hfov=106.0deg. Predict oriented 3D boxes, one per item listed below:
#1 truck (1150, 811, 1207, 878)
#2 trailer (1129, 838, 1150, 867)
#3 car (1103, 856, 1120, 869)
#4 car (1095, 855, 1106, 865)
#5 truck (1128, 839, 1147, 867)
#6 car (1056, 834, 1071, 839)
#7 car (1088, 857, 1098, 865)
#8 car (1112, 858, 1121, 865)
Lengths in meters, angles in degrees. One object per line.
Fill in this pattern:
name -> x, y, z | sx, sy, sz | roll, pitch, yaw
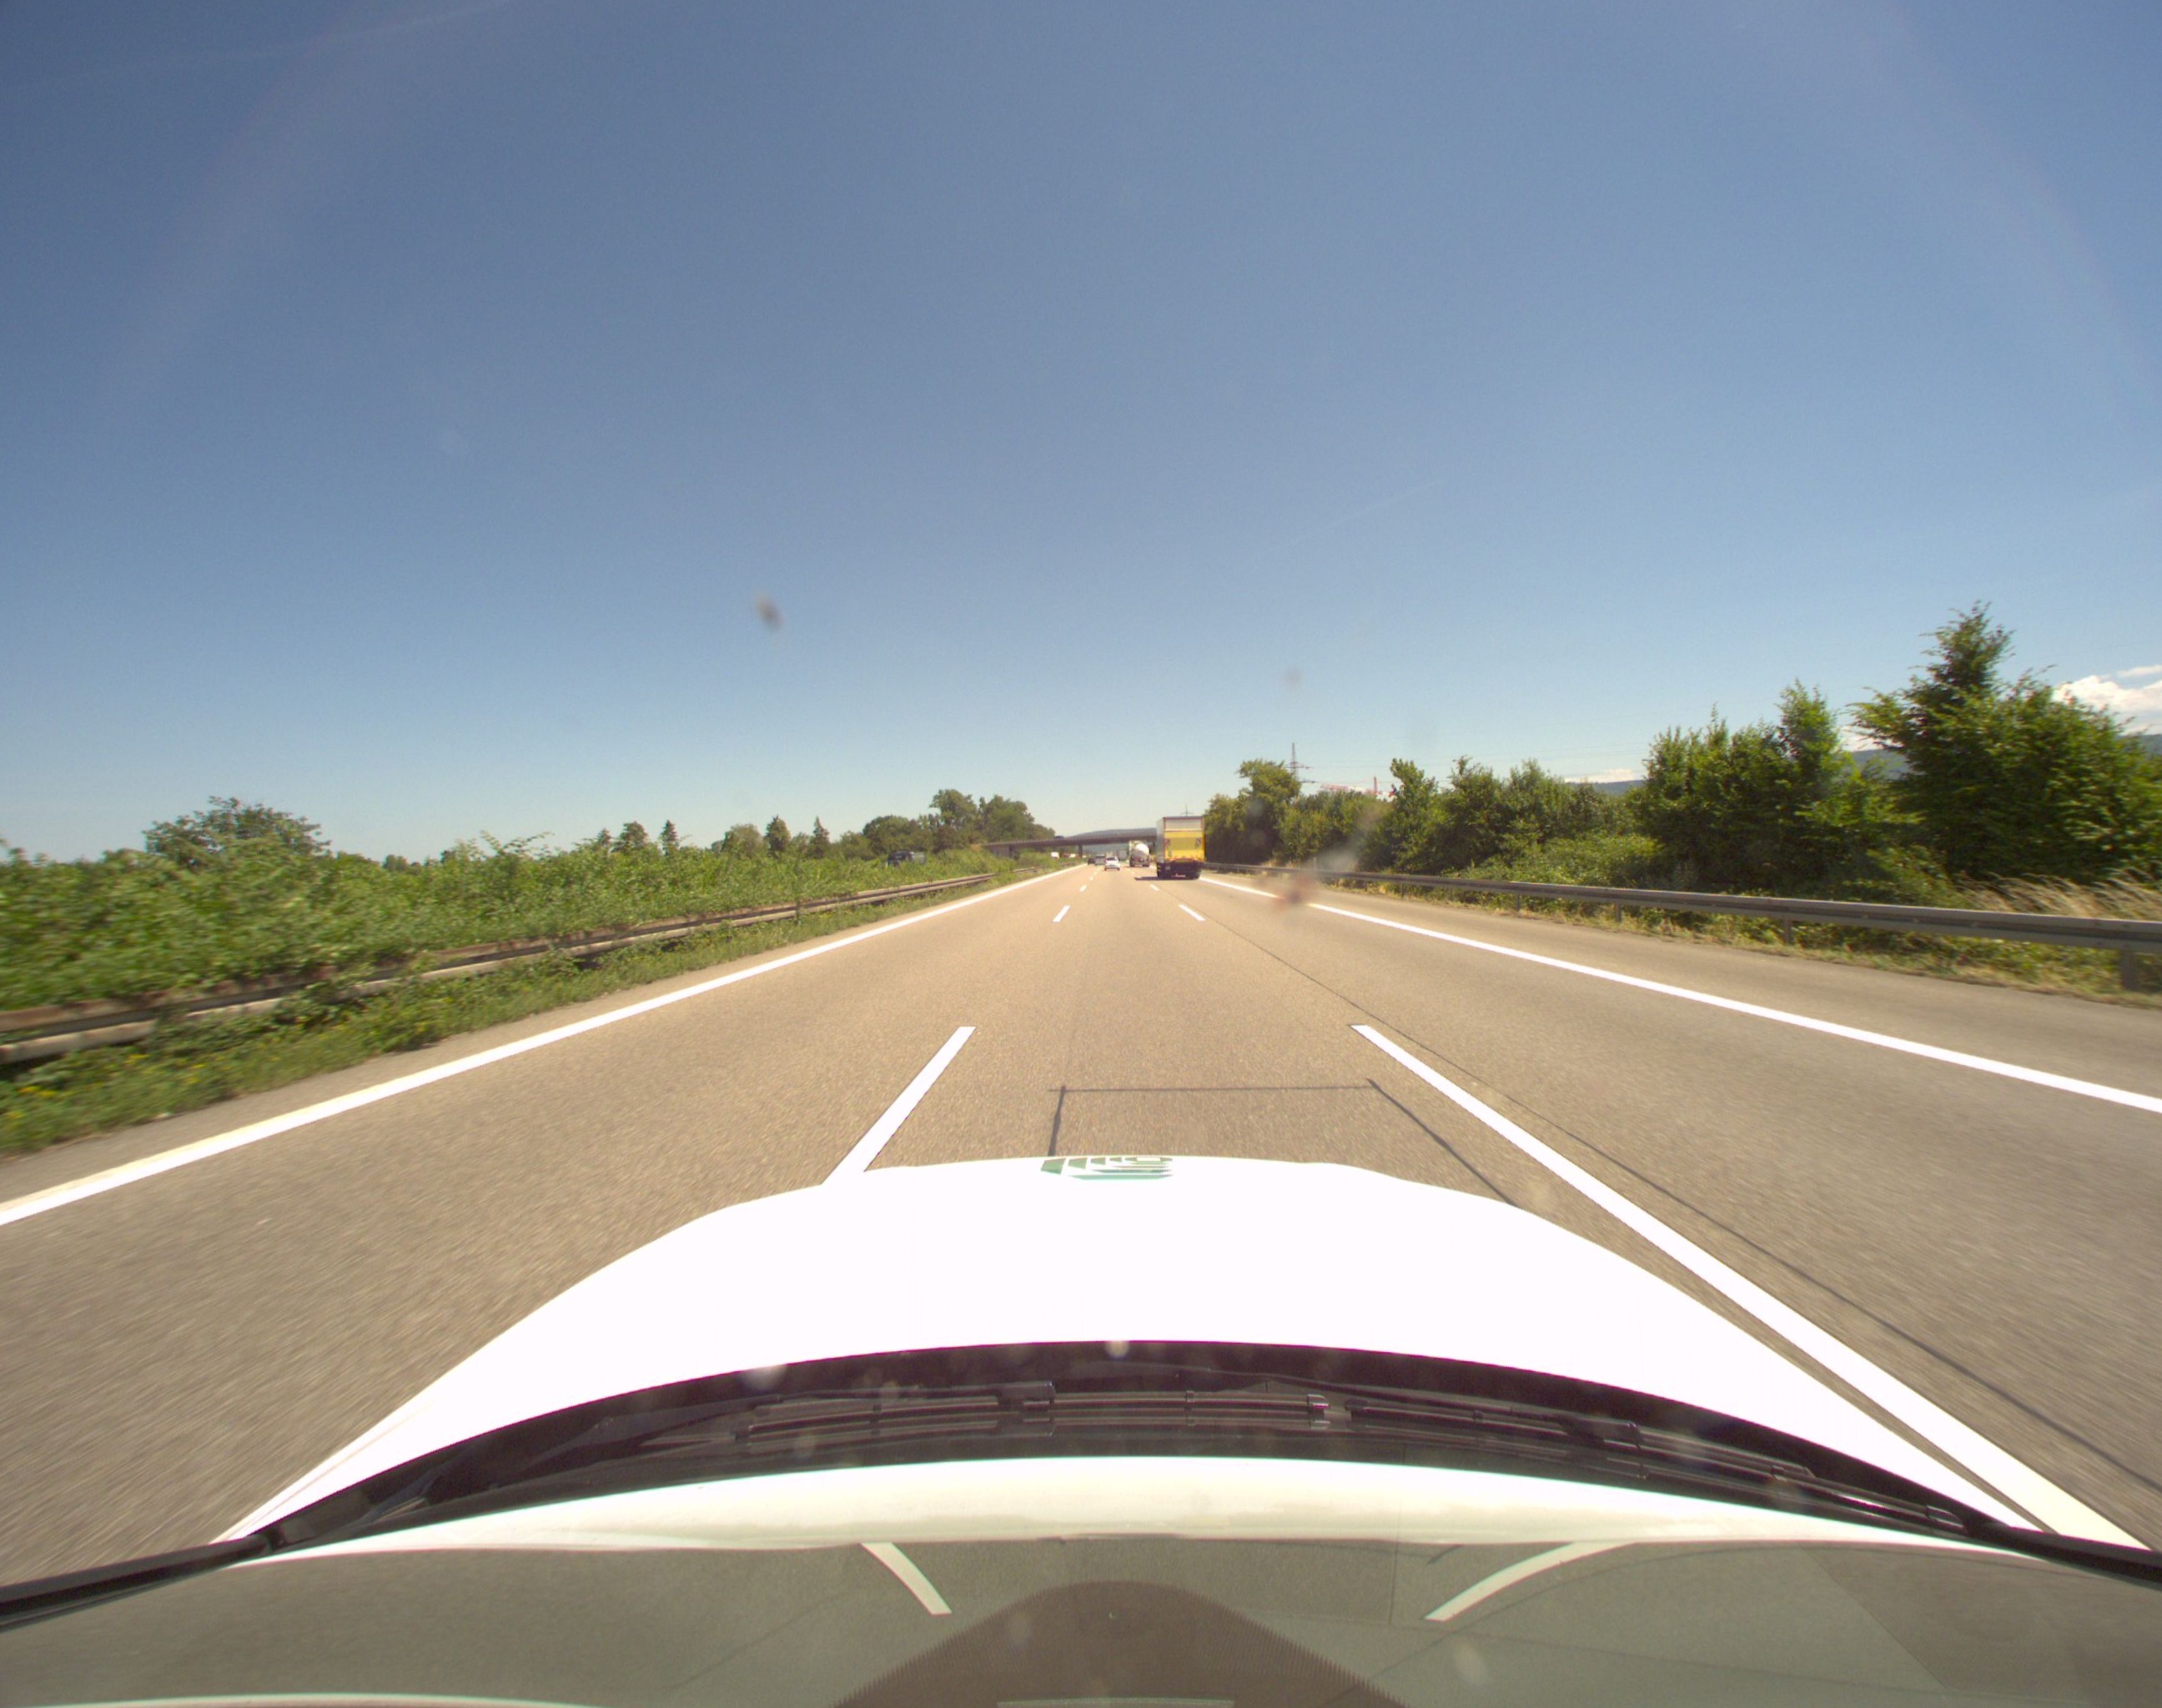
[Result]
truck -> 6.529, -0.555, 56.097 | 2.922, 4.200, 10.685 | 0, 0, 2
trailer -> 8.316, -0.185, 117.065 | 2.570, 4.074, 11.106 | 0, 0, 2
car -> 3.418, 0.924, 90.474 | 1.799, 1.468, 4.002 | 0, 0, 2
car -> 3.415, 1.031, 139.250 | 1.844, 1.633, 4.002 | 0, 0, 2
truck -> 8.445, -0.163, 121.498 | 2.563, 4.072, 6.394 | 0, 0, 1
car -> -4.741, -4.825, 224.273 | 3.949, 1.386, 1.853 | 0, 0, 39
car -> 2.309, 1.356, 159.441 | 1.828, 1.386, 4.002 | 0, 0, 2
car -> 7.612, 1.580, 175.450 | 1.828, 1.386, 4.002 | 0, 0, 2
